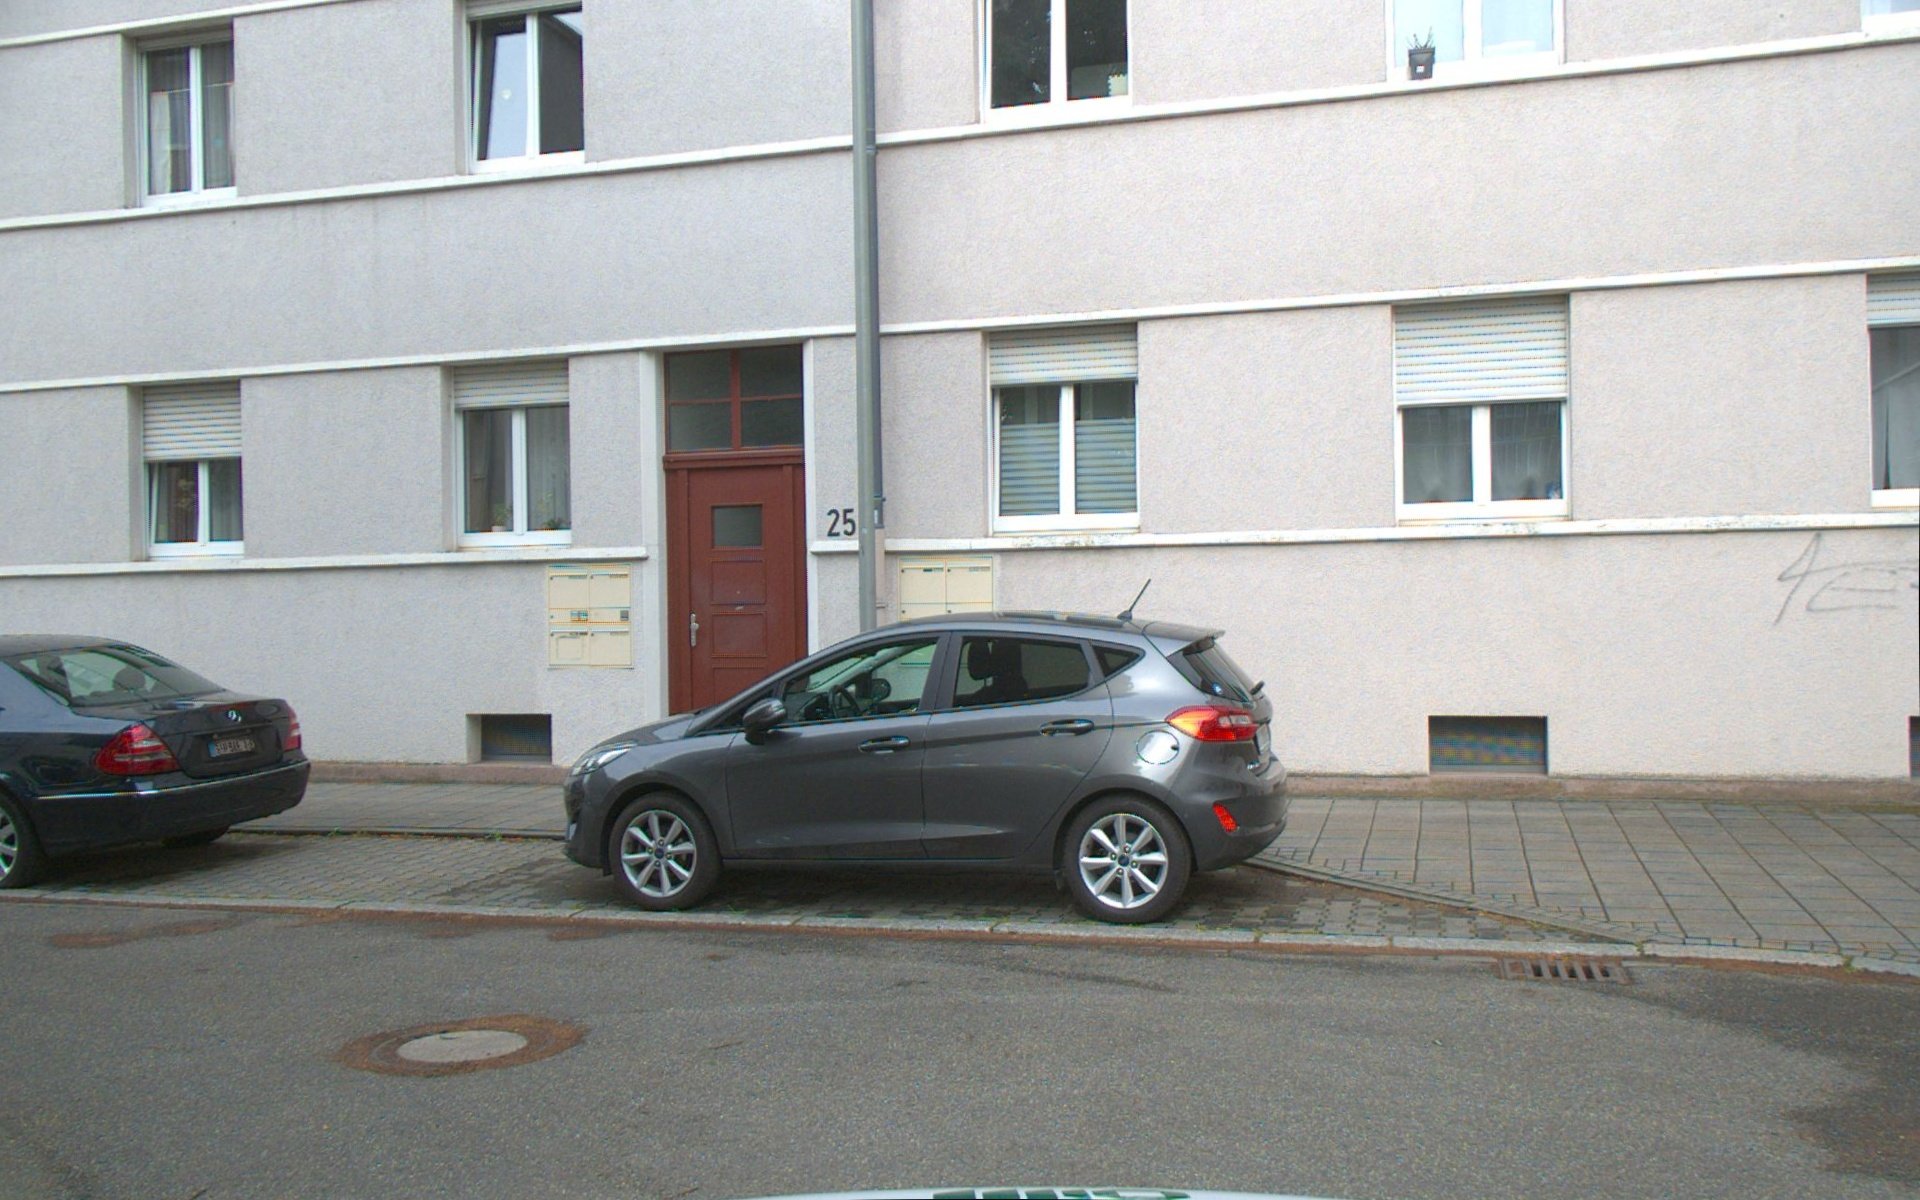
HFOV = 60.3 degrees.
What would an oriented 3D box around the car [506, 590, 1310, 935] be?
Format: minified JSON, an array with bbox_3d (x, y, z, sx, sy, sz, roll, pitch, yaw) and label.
[{"bbox_3d":[-0.200,0.762,8.942,3.979,1.551,1.764,-1,1,15],"label":"car"}]

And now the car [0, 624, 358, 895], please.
[{"bbox_3d":[-6.532,0.932,10.686,4.828,1.445,1.752,-1,1,15],"label":"car"}]
